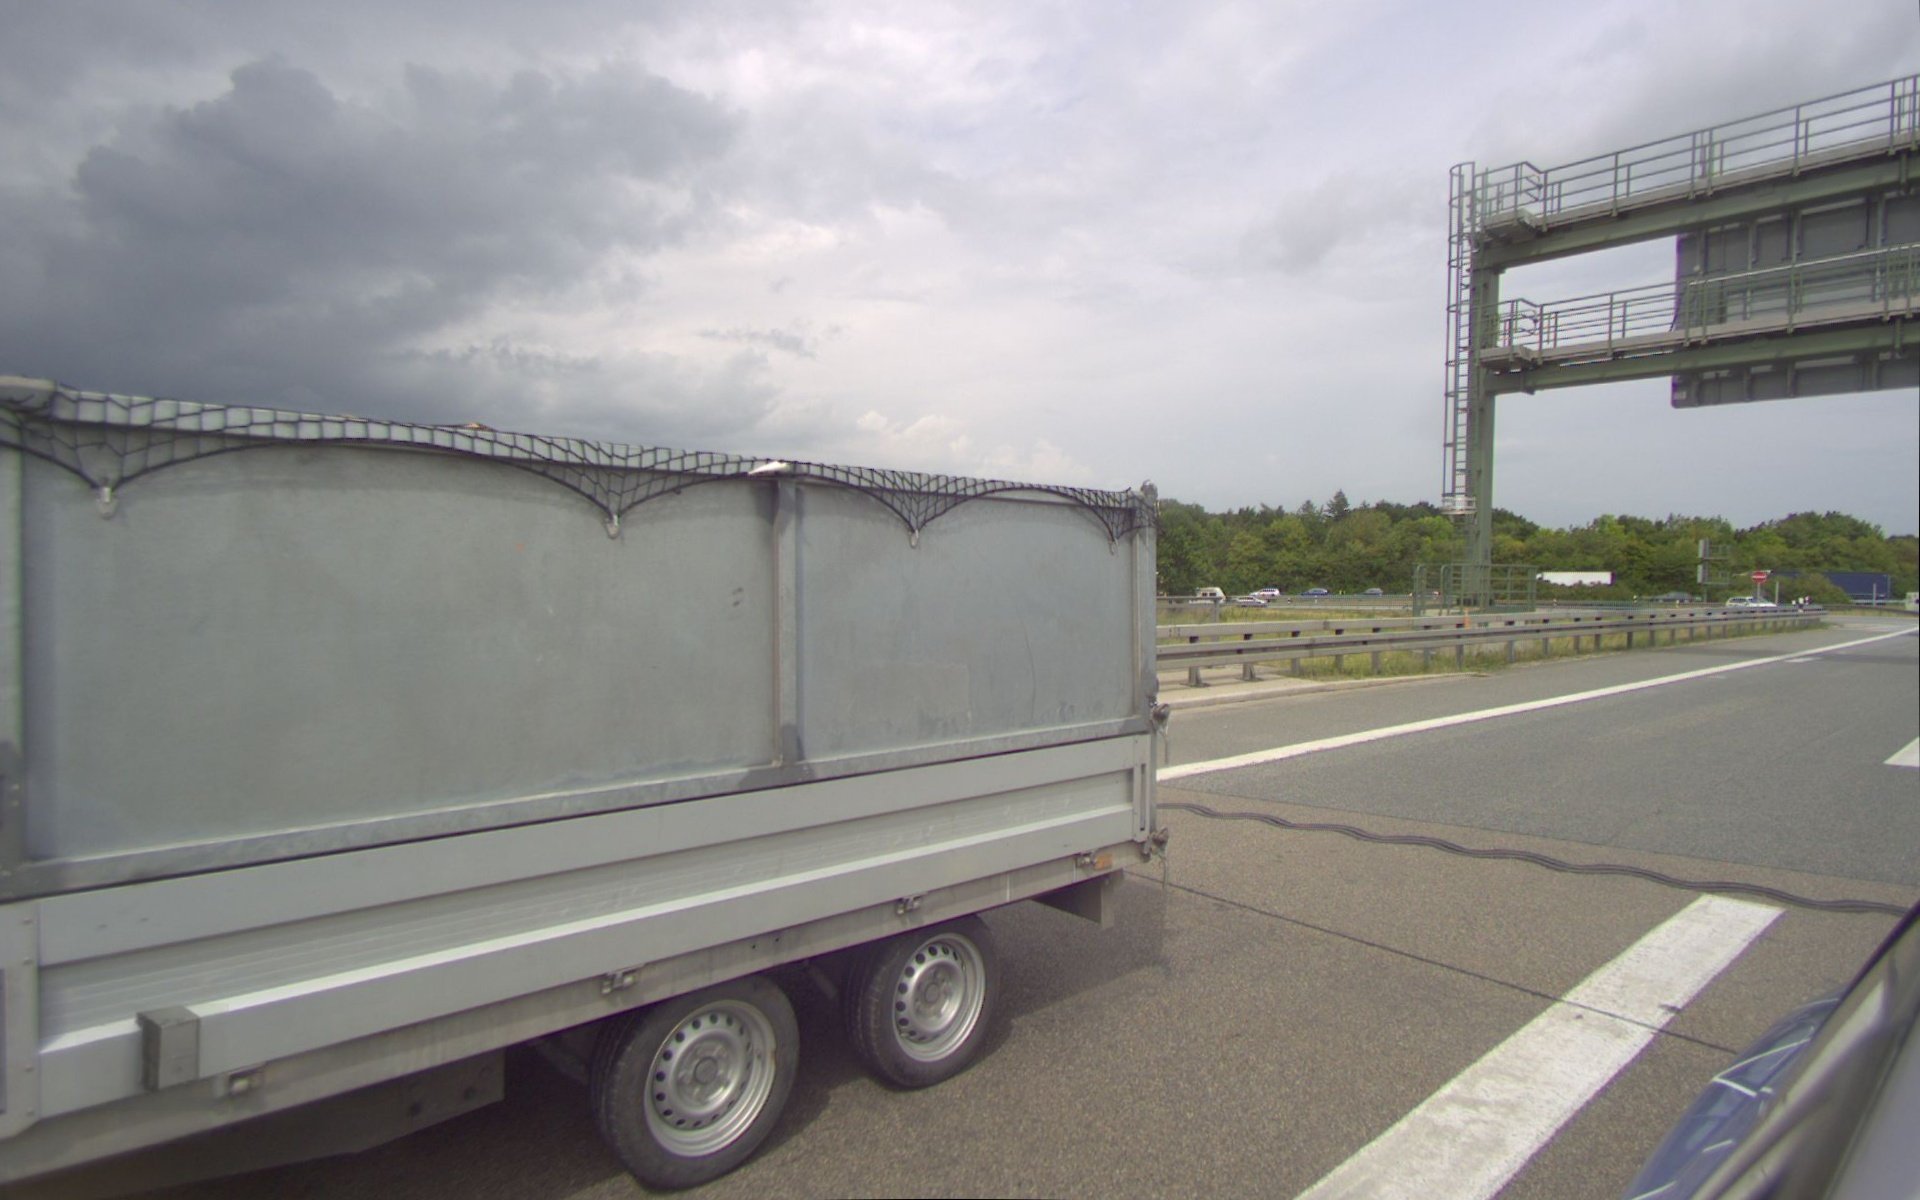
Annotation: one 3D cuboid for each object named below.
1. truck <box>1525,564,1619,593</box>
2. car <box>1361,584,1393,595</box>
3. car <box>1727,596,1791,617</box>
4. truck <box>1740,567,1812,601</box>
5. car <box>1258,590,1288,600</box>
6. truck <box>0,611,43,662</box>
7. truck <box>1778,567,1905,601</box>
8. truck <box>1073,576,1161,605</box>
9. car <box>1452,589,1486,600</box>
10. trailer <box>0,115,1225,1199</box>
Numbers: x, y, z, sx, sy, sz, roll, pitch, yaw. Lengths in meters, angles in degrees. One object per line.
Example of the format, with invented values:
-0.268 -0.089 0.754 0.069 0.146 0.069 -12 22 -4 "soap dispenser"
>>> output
76.309 -2.636 126.459 9.776 3.446 2.671 0 0 26 "truck"
56.686 -1.383 137.668 3.959 1.468 1.545 0 0 26 "car"
61.694 0.506 78.222 1.696 1.560 4.476 0 0 6 "car"
95.745 -1.880 118.815 5.825 3.851 2.897 0 0 6 "truck"
44.229 -0.711 143.063 3.952 1.512 1.547 0 0 22 "car"
-108.605 3.926 109.126 14.550 5.280 3.868 0 0 -10 "truck"
102.773 -1.813 118.120 11.586 3.907 2.843 0 0 6 "truck"
23.382 -1.413 151.103 12.841 4.296 2.680 0 0 18 "truck"
66.250 -0.773 131.816 3.964 1.418 1.543 0 0 29 "car"
-1.358 0.289 2.802 4.551 2.039 1.857 0 0 -42 "trailer"
